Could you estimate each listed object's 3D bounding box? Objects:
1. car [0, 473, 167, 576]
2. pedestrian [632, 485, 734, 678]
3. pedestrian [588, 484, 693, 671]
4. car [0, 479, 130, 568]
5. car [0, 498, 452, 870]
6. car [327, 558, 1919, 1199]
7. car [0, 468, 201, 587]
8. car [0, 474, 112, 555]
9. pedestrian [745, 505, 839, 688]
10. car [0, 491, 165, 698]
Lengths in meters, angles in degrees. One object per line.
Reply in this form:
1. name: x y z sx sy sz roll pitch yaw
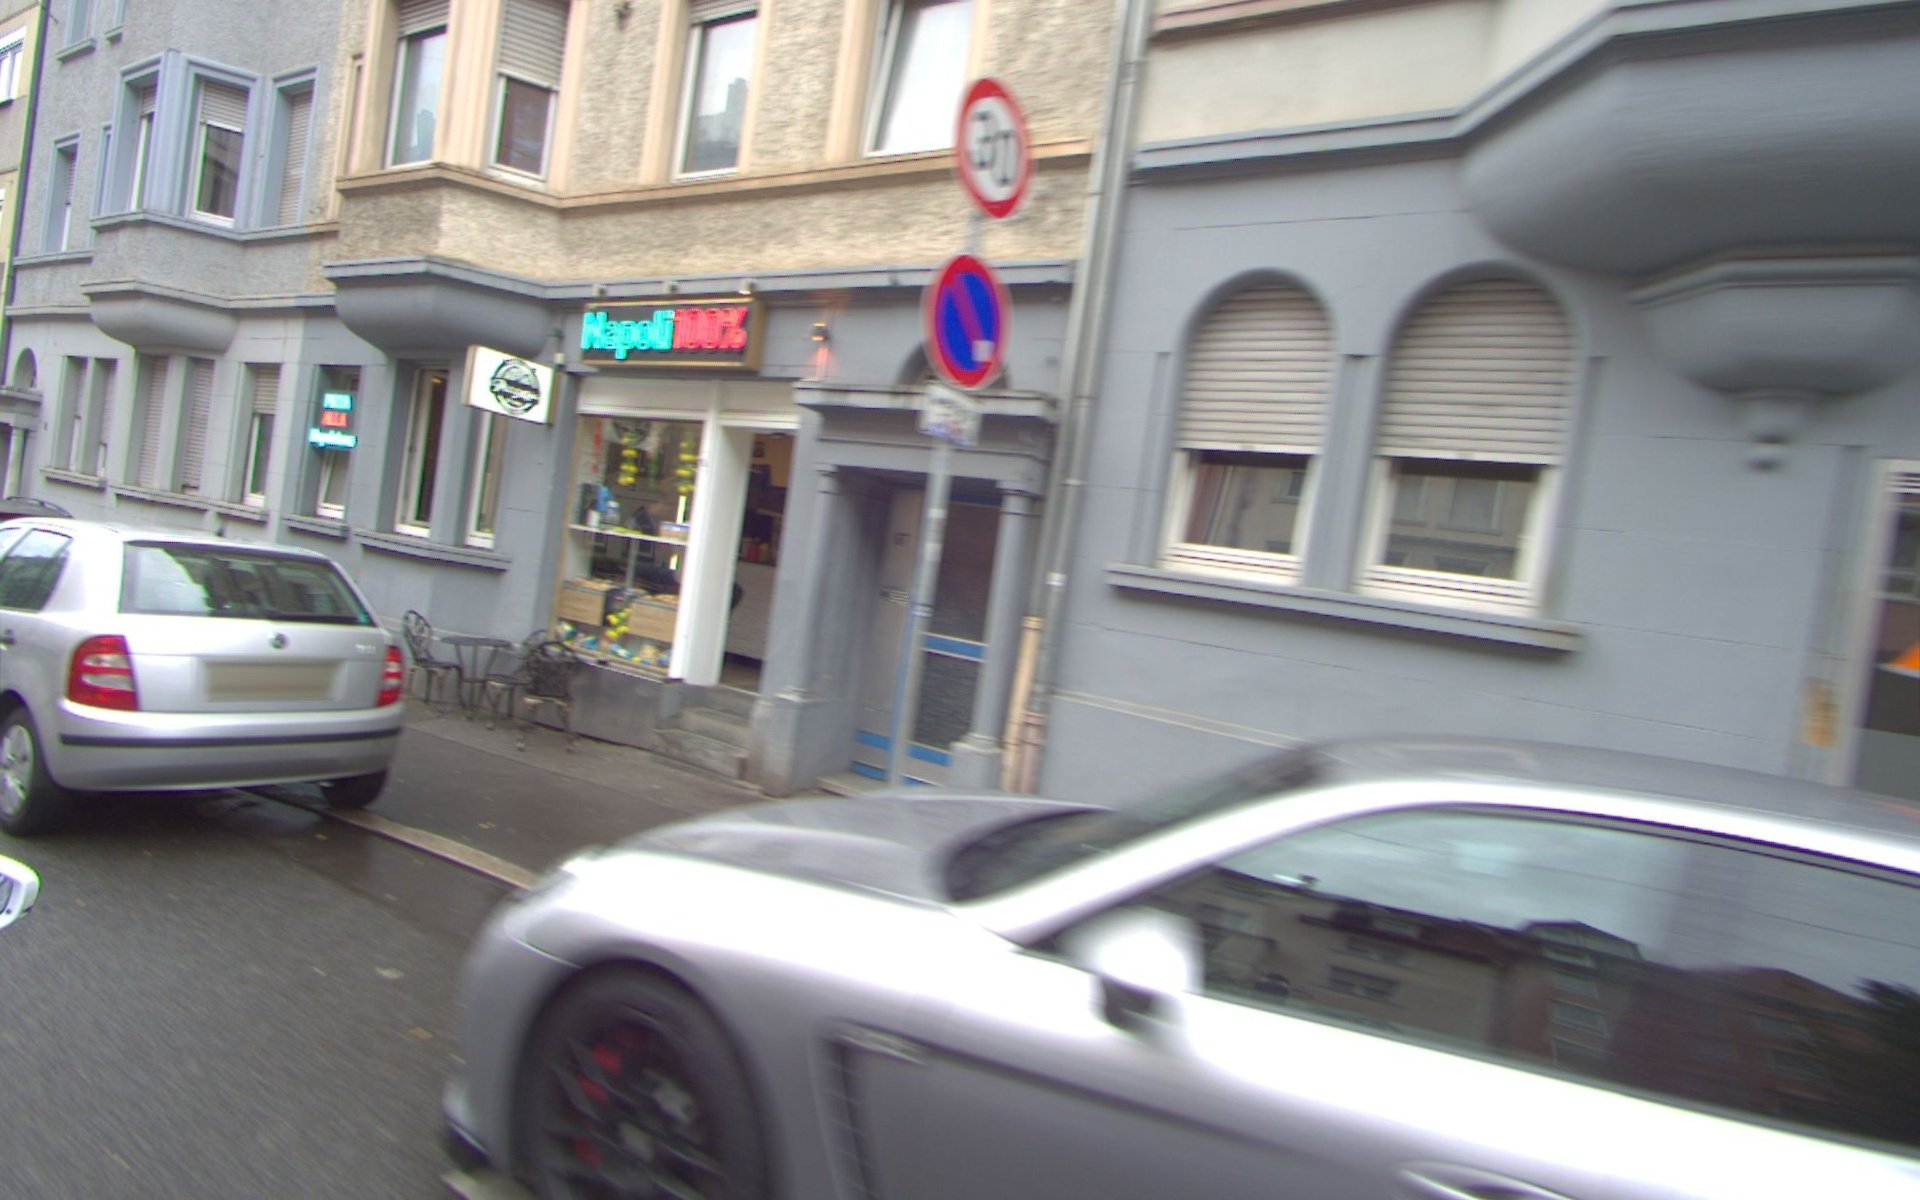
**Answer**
1. car: -19.853 -1.719 21.446 1.883 1.747 4.316 9 1 44
2. pedestrian: -2.498 -0.161 9.099 0.613 1.640 0.417 7 1 8
3. pedestrian: -2.986 -0.203 9.440 0.655 1.640 0.485 6 1 2
4. car: -21.647 -1.868 22.670 1.644 1.661 4.277 9 1 44
5. car: -4.962 0.251 5.874 3.949 1.492 1.614 7 -1 32
6. car: 1.044 0.970 2.291 4.690 1.484 1.881 7 -2 26
7. car: -17.864 -1.513 19.904 4.309 1.827 1.983 8 1 -41
8. car: -23.857 -2.289 24.811 1.644 1.661 4.277 9 1 44
9. pedestrian: -1.586 -0.032 9.502 0.591 1.640 0.417 7 1 15
10. car: -9.119 -0.242 8.839 4.720 1.498 1.899 7 2 33
